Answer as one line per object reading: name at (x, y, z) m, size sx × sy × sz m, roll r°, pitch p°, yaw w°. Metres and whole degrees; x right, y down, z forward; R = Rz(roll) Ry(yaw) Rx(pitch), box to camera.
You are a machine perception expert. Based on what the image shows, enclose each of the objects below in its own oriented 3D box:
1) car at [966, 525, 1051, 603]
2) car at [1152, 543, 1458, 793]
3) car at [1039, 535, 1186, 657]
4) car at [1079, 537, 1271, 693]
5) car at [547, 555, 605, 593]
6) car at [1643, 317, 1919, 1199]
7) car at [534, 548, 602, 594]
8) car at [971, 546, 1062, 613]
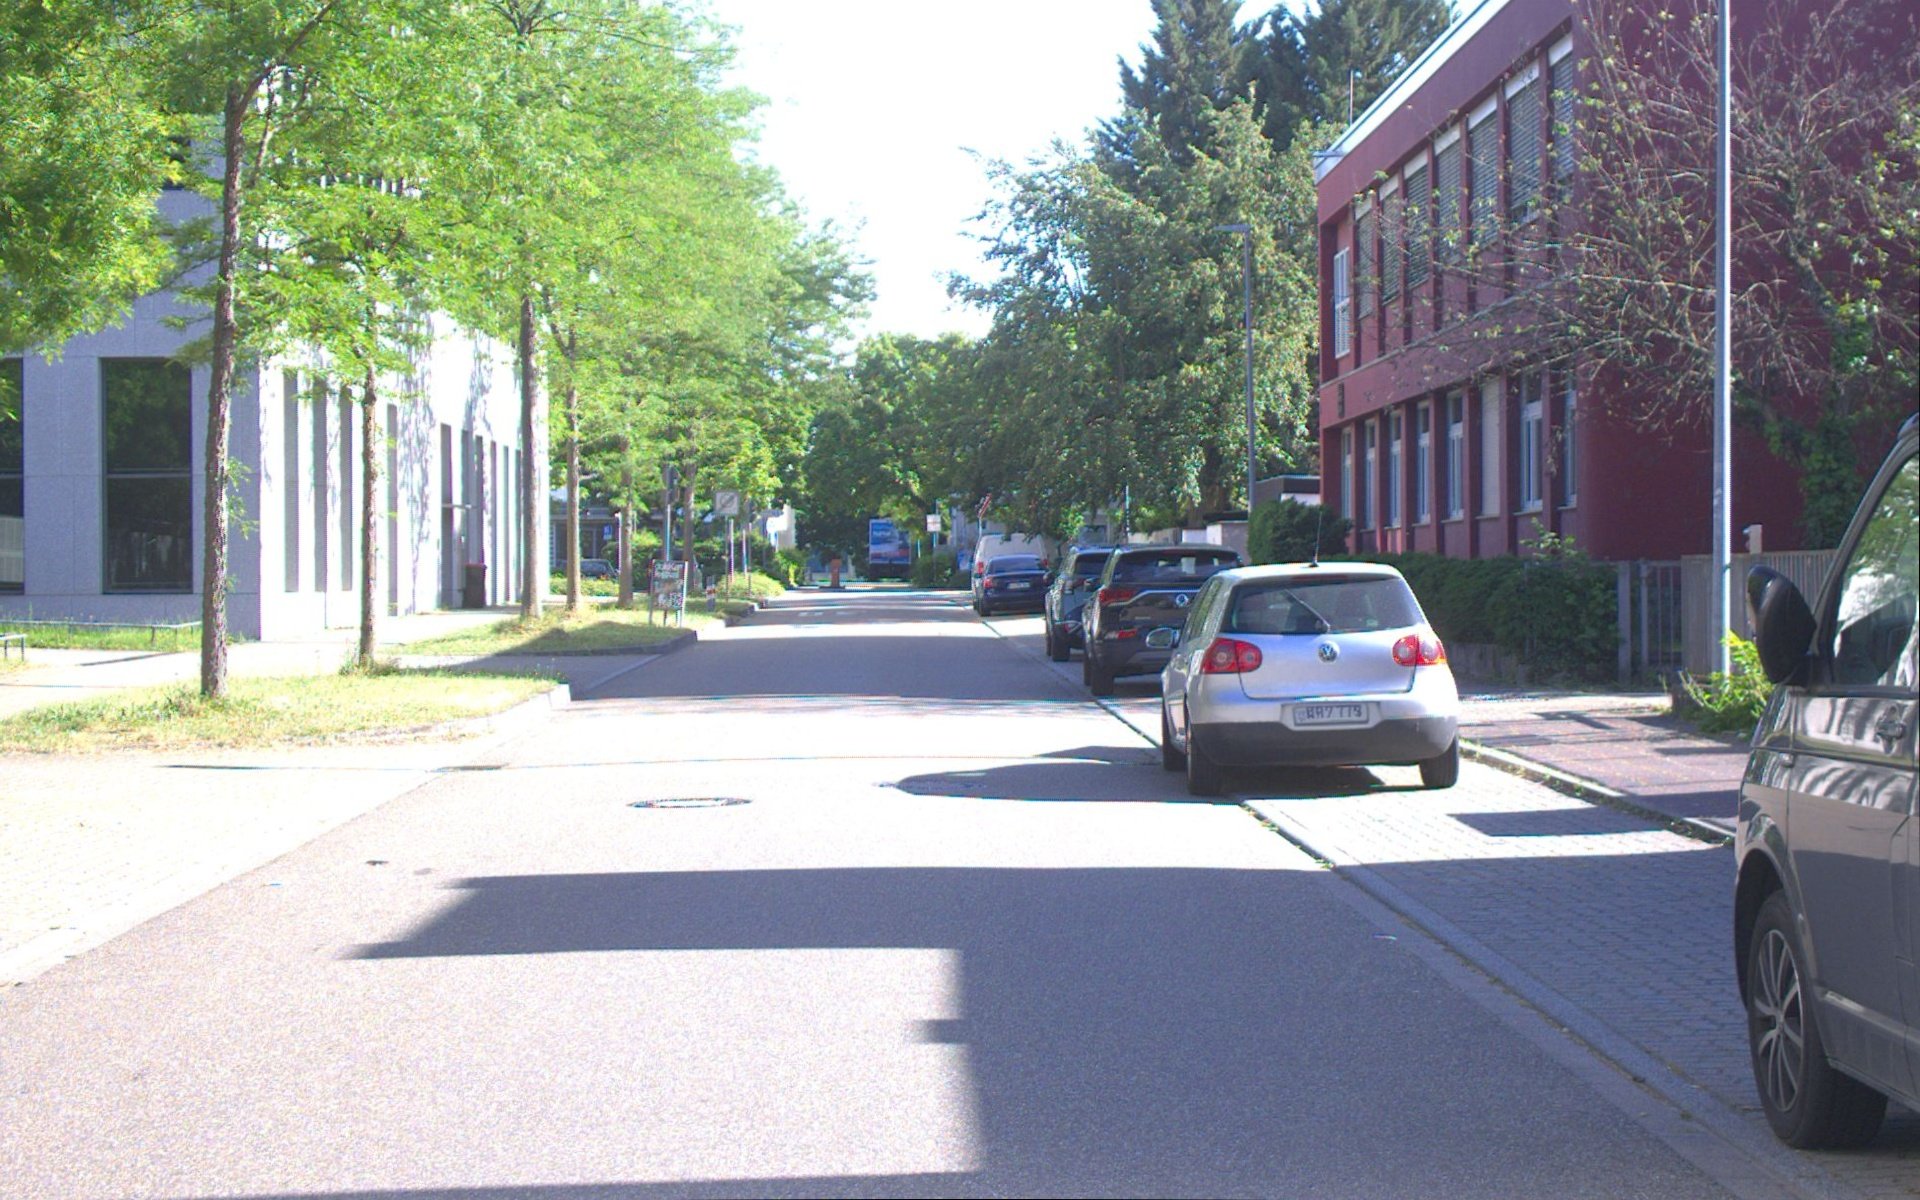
car at (1.211, -0.934, 87.436) m, size 1.993 × 1.828 × 4.000 m, roll -3°, pitch 1°, yaw 0°
car at (2.252, 0.390, 23.318) m, size 1.660 × 1.556 × 3.935 m, roll 0°, pitch 1°, yaw 0°
car at (2.127, -0.095, 48.877) m, size 1.855 × 1.642 × 4.000 m, roll -1°, pitch 1°, yaw 0°
car at (2.303, 0.122, 37.811) m, size 1.838 × 1.628 × 4.201 m, roll 0°, pitch 1°, yaw 0°
car at (-13.757, -0.947, 123.349) m, size 1.905 × 1.337 × 3.794 m, roll 0°, pitch 1°, yaw -4°
car at (2.963, 0.401, 7.246) m, size 1.943 × 2.015 × 4.825 m, roll -1°, pitch 0°, yaw -1°
car at (-12.697, -0.943, 111.565) m, size 1.993 × 1.453 × 3.793 m, roll -1°, pitch 1°, yaw -4°
car at (1.322, -0.496, 81.619) m, size 1.993 × 1.437 × 4.000 m, roll -3°, pitch 1°, yaw 0°
